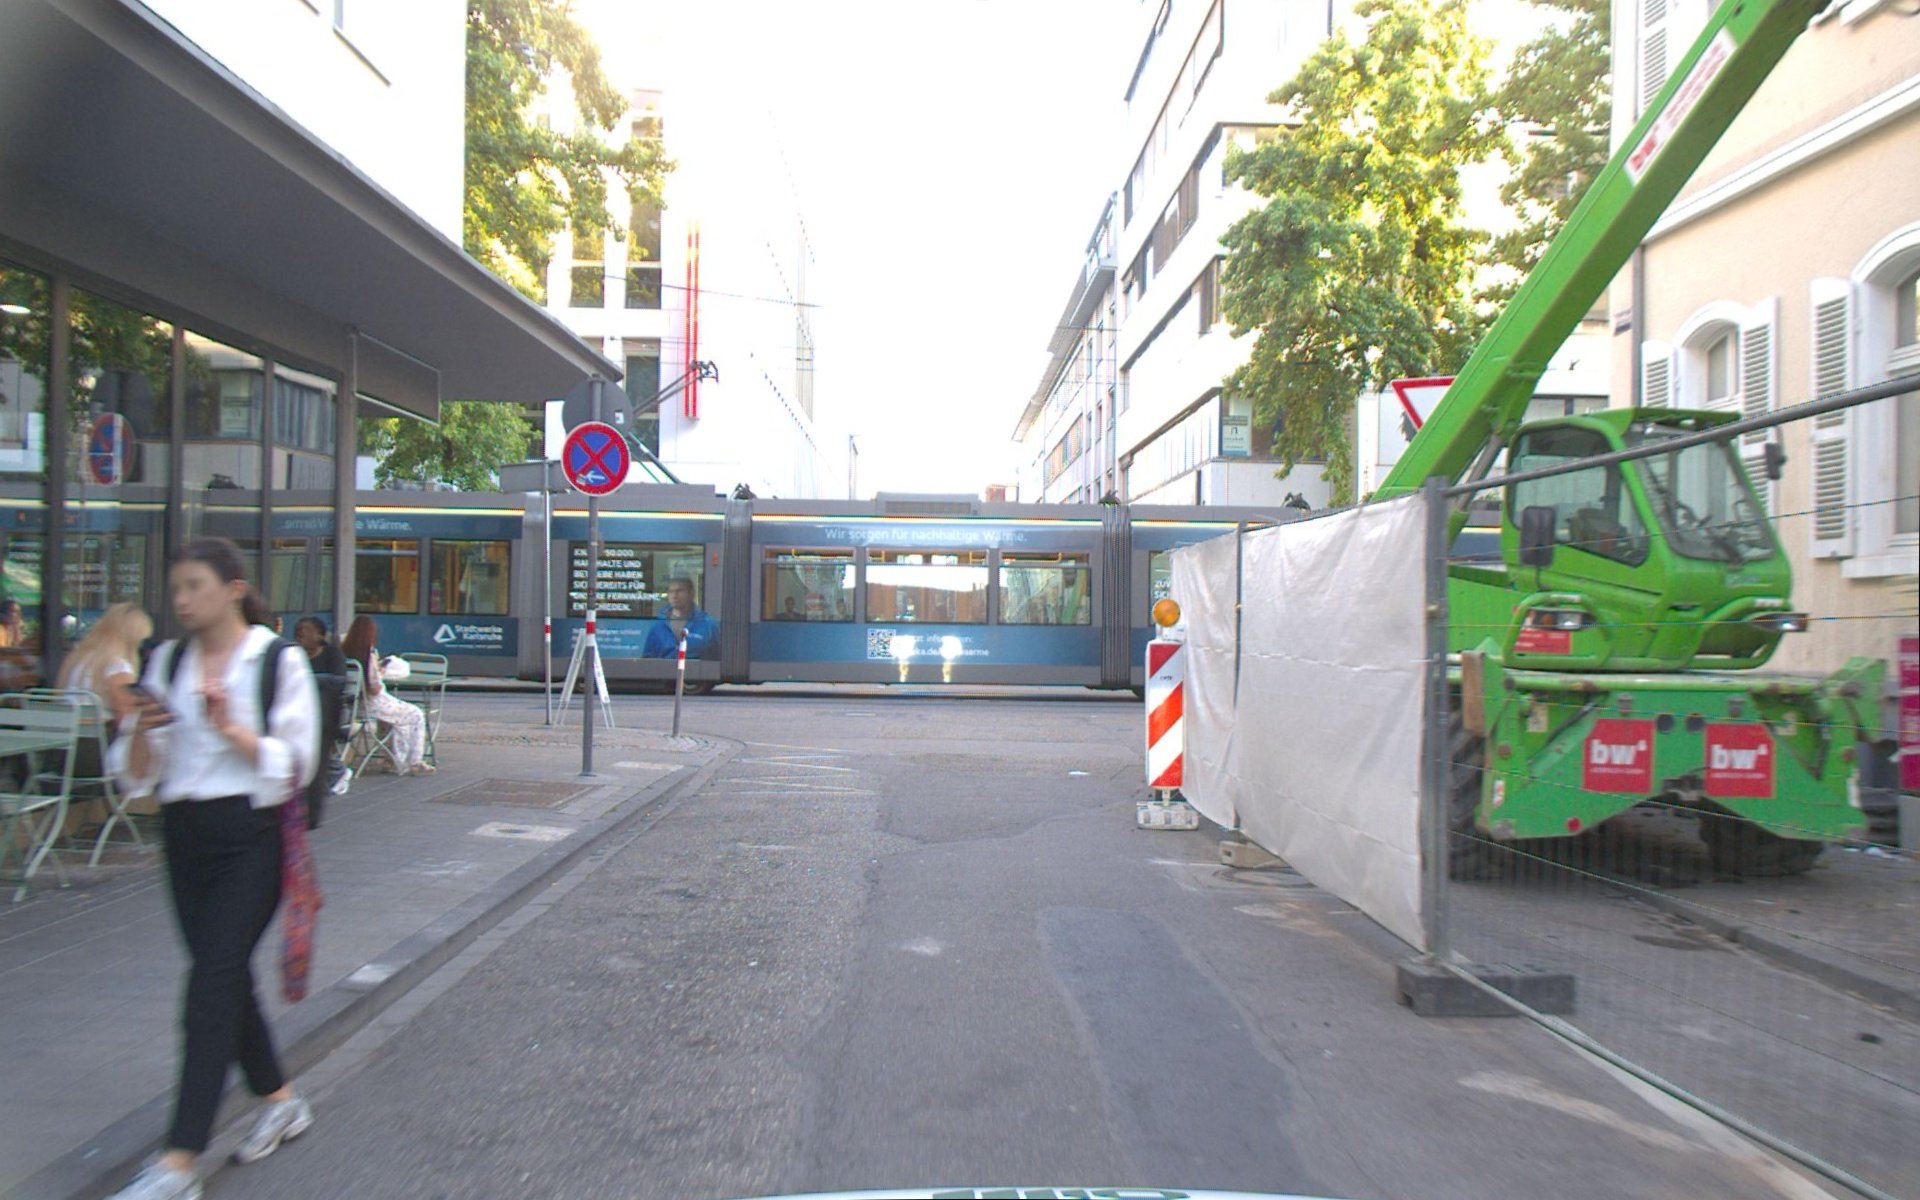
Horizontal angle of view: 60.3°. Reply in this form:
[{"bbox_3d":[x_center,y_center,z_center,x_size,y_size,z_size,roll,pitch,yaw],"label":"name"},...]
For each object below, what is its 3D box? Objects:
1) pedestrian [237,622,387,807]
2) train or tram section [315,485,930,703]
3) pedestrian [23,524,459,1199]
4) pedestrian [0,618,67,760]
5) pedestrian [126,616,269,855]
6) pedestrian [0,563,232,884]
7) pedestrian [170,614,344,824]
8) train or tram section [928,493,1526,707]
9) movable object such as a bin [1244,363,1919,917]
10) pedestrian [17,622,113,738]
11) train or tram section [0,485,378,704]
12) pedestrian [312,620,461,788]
[{"bbox_3d":[-4.525,0.782,11.592,0.689,1.216,0.691,4,-1,2],"label":"pedestrian"},{"bbox_3d":[-5.619,-0.050,29.077,10.158,3.586,3.016,0,-2,-2],"label":"train or tram section"},{"bbox_3d":[-1.860,0.715,4.385,0.740,1.770,0.785,-2,-1,5],"label":"pedestrian"},{"bbox_3d":[-9.370,0.858,16.108,0.860,1.343,0.850,0,-2,2],"label":"pedestrian"},{"bbox_3d":[-4.430,0.756,9.626,0.695,1.308,0.854,2,-1,-25],"label":"pedestrian"},{"bbox_3d":[-4.389,0.616,8.646,0.689,1.575,0.861,1,-1,6],"label":"pedestrian"},{"bbox_3d":[-4.536,0.747,10.727,0.689,1.261,0.778,4,-1,2],"label":"pedestrian"},{"bbox_3d":[4.509,0.030,29.424,10.127,3.586,3.025,0,-1,-2],"label":"train or tram section"},{"bbox_3d":[3.912,0.220,11.586,2.583,2.923,5.561,0,0,-4],"label":"movable object such as a bin"},{"bbox_3d":[-10.961,0.972,20.283,0.774,1.401,0.695,0,-2,0],"label":"pedestrian"},{"bbox_3d":[-15.993,-0.071,28.737,10.591,3.586,3.012,0,-1,-2],"label":"train or tram section"},{"bbox_3d":[-4.463,0.785,12.891,0.692,1.240,0.839,1,-1,36],"label":"pedestrian"}]
